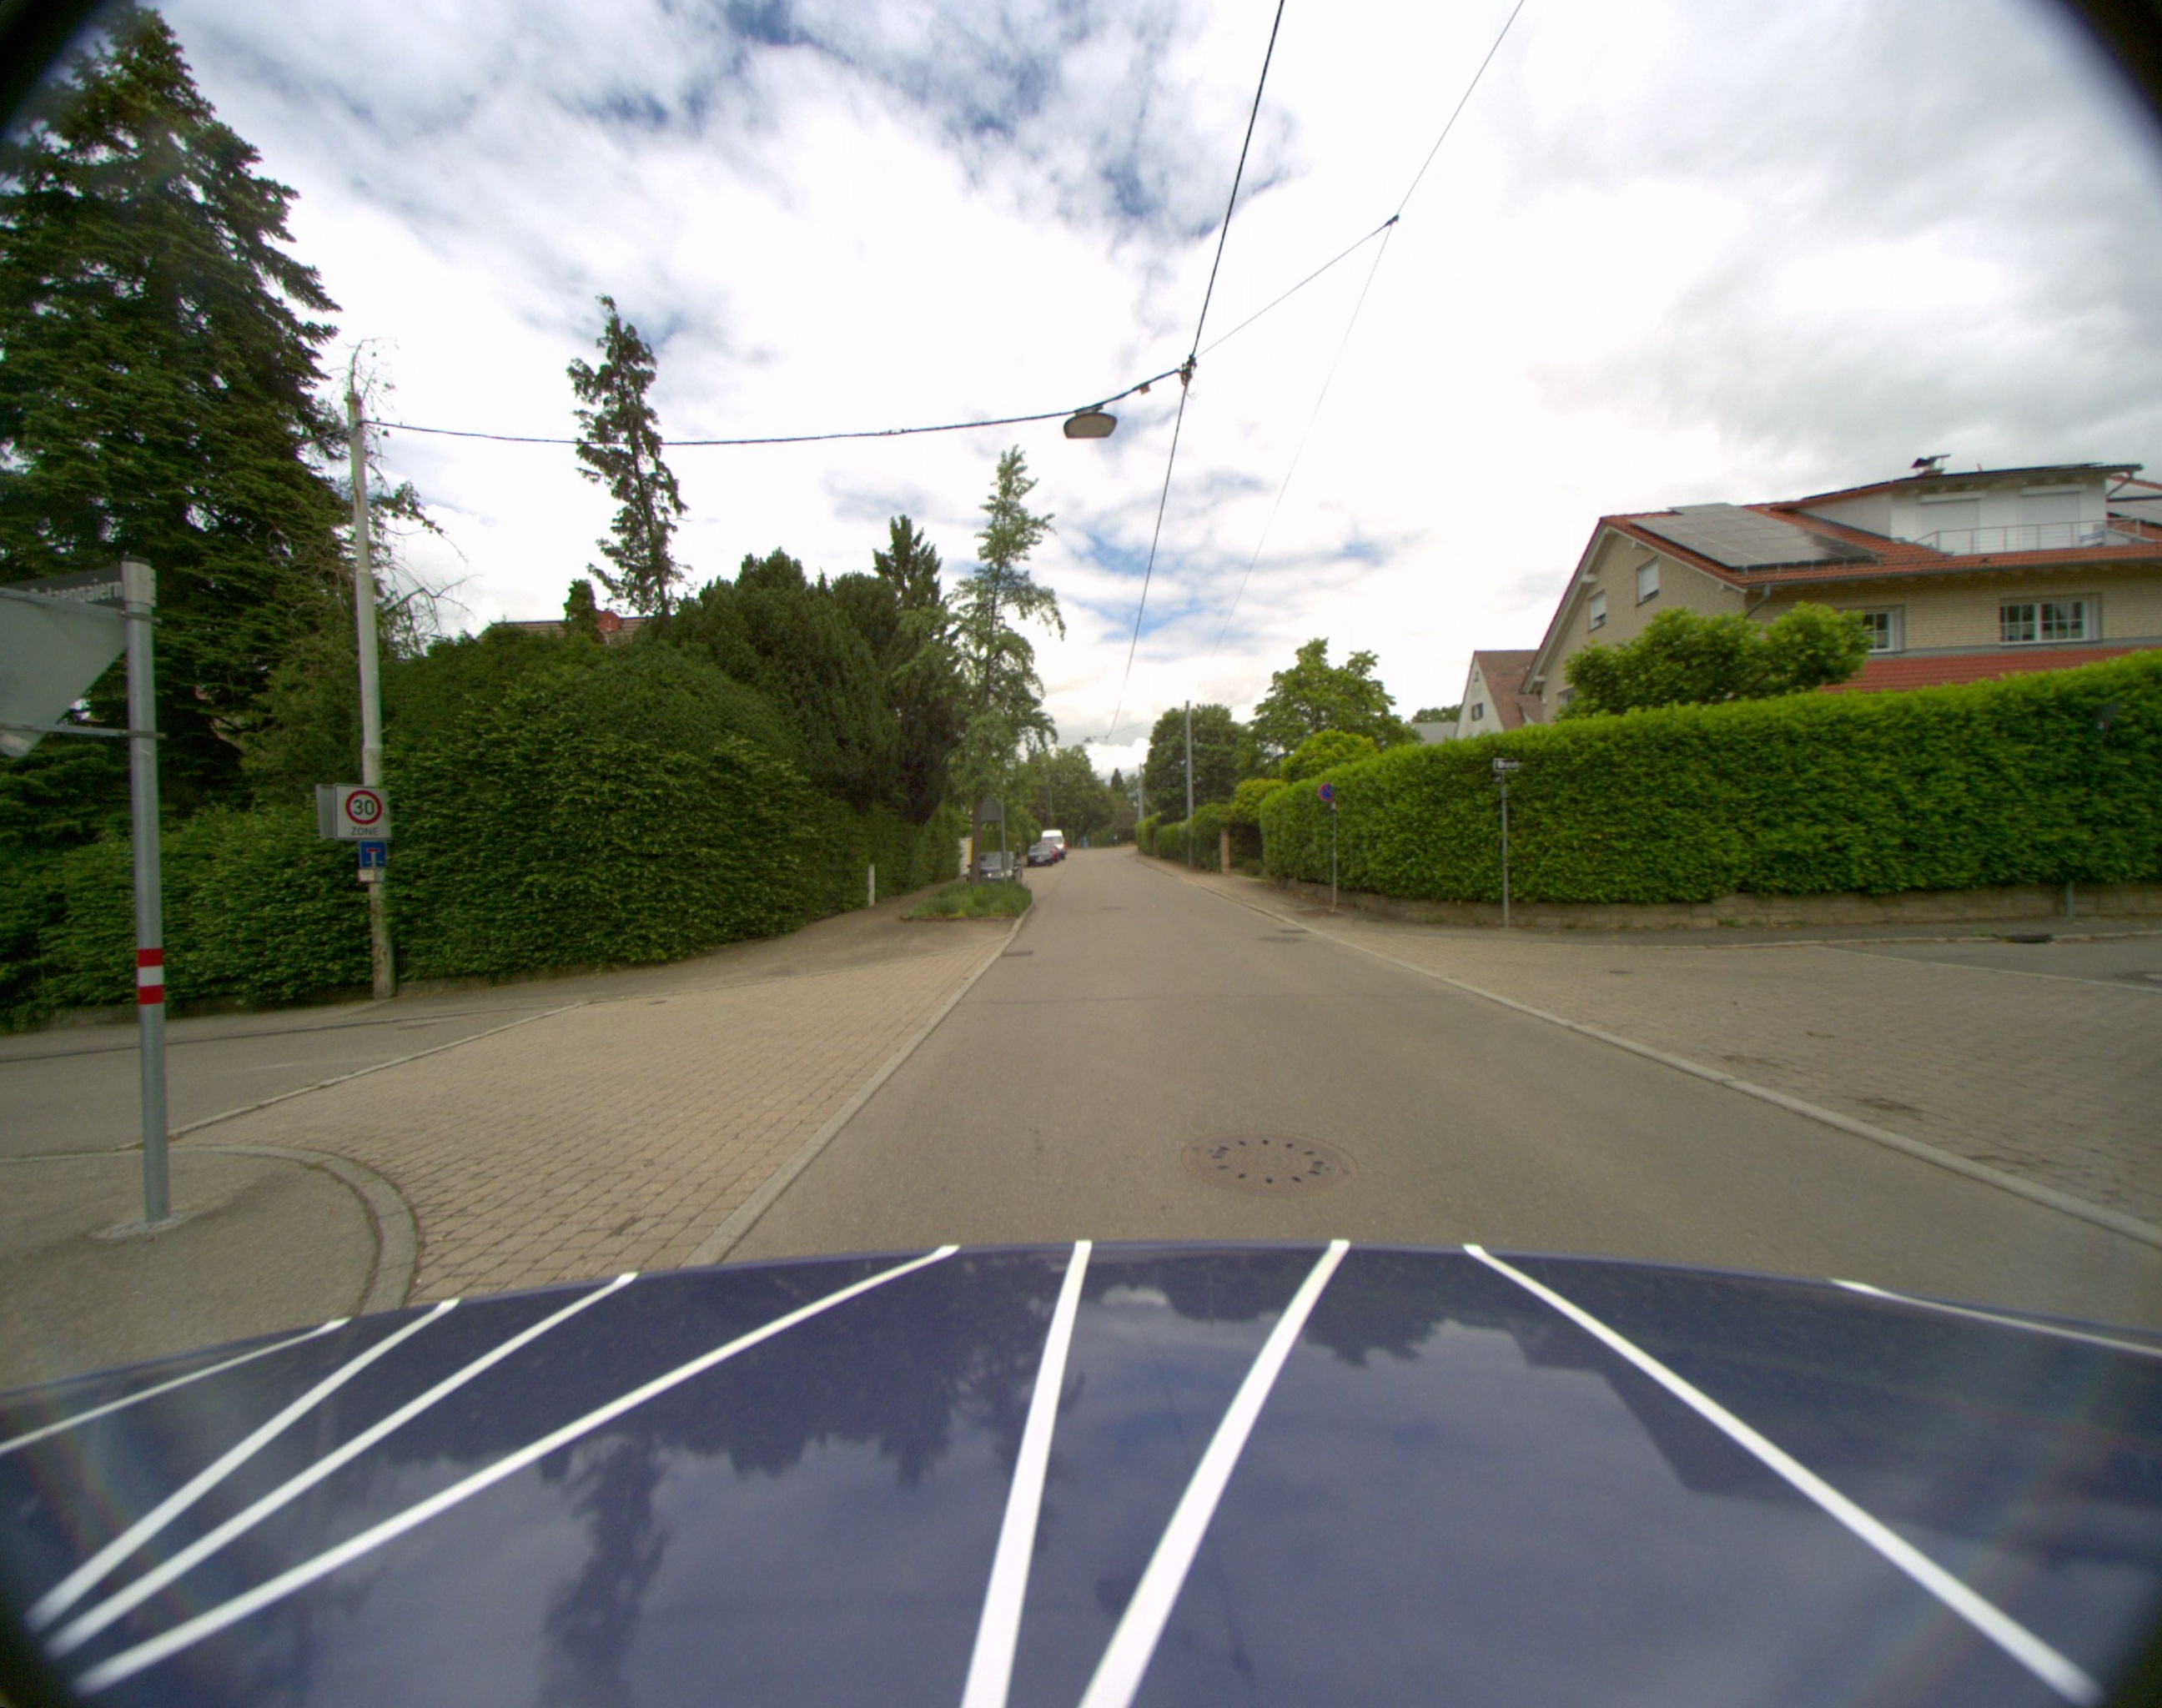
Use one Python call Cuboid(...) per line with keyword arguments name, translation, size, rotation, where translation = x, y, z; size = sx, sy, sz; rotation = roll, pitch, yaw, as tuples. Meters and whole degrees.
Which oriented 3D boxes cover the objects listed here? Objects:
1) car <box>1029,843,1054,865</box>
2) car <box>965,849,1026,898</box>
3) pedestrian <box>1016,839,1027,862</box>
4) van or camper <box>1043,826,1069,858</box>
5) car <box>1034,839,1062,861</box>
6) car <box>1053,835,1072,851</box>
Cuboid(name="car", translation=(-2.753, -0.019, 52.826), size=(1.683, 1.399, 4.051), rotation=(0, 2, -4))
Cuboid(name="car", translation=(-2.934, 0.633, 26.790), size=(1.627, 1.464, 3.739), rotation=(-2, 1, 1))
Cuboid(name="pedestrian", translation=(-4.355, -0.241, 55.565), size=(0.671, 1.689, 0.918), rotation=(0, 2, 2))
Cuboid(name="van or camper", translation=(-2.220, -1.105, 67.591), size=(2.046, 2.605, 7.035), rotation=(-3, 2, -1))
Cuboid(name="car", translation=(-2.494, -0.349, 58.991), size=(1.893, 1.572, 4.764), rotation=(0, 2, 1))
Cuboid(name="car", translation=(-2.120, -1.303, 87.602), size=(1.771, 1.755, 4.161), rotation=(-2, 2, 3))
